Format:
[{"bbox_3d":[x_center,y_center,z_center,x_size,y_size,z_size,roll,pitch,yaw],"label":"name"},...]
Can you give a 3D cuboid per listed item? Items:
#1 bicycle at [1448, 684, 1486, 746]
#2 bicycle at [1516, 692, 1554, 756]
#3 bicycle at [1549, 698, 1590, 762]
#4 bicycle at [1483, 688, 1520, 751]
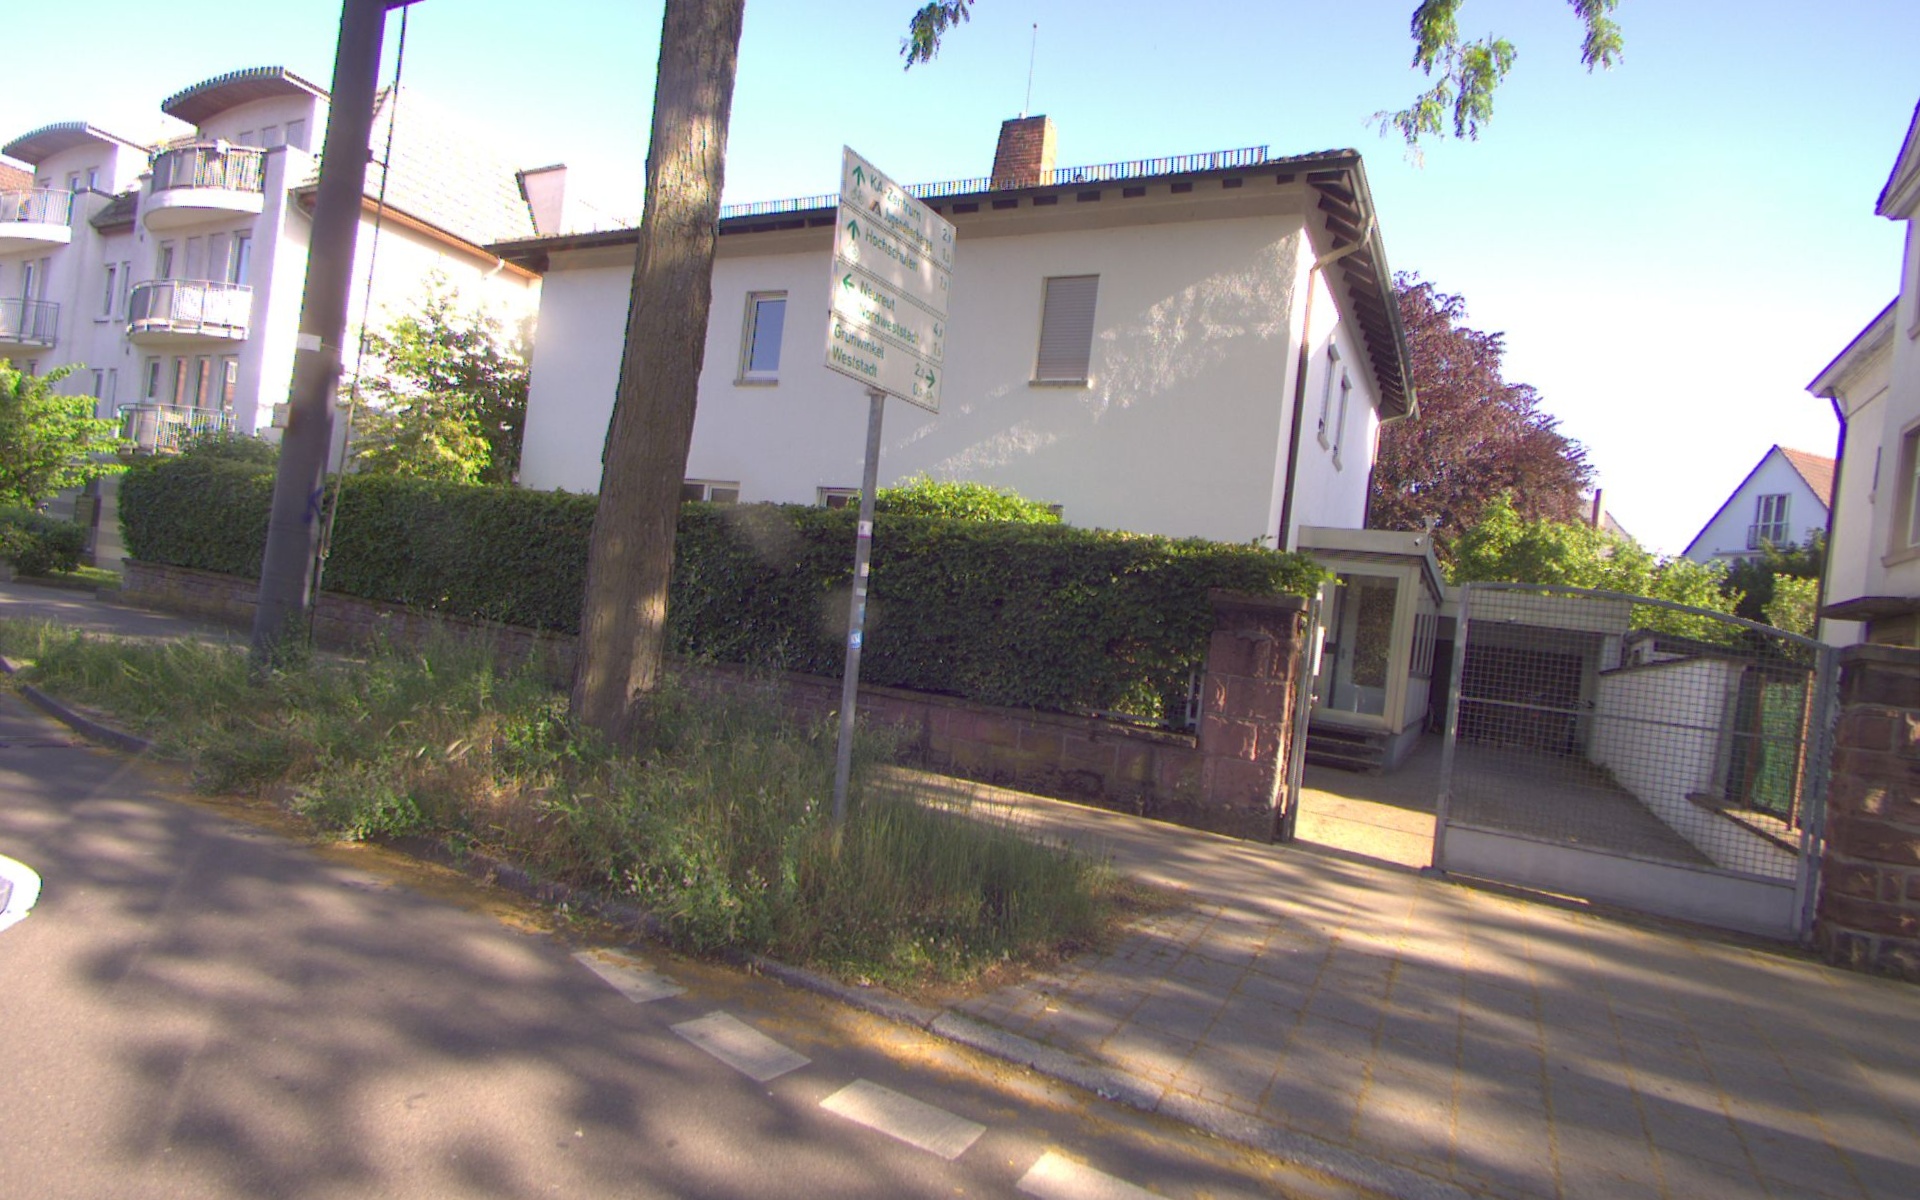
[{"bbox_3d":[10.286,2.323,20.401,0.512,1.135,1.465,6,-2,30],"label":"bicycle"},{"bbox_3d":[11.280,2.425,19.749,0.512,1.135,1.465,6,-2,30],"label":"bicycle"},{"bbox_3d":[11.730,2.490,19.383,0.512,1.135,1.465,6,-2,30],"label":"bicycle"},{"bbox_3d":[10.801,2.375,20.041,0.512,1.135,1.465,6,-2,30],"label":"bicycle"}]
